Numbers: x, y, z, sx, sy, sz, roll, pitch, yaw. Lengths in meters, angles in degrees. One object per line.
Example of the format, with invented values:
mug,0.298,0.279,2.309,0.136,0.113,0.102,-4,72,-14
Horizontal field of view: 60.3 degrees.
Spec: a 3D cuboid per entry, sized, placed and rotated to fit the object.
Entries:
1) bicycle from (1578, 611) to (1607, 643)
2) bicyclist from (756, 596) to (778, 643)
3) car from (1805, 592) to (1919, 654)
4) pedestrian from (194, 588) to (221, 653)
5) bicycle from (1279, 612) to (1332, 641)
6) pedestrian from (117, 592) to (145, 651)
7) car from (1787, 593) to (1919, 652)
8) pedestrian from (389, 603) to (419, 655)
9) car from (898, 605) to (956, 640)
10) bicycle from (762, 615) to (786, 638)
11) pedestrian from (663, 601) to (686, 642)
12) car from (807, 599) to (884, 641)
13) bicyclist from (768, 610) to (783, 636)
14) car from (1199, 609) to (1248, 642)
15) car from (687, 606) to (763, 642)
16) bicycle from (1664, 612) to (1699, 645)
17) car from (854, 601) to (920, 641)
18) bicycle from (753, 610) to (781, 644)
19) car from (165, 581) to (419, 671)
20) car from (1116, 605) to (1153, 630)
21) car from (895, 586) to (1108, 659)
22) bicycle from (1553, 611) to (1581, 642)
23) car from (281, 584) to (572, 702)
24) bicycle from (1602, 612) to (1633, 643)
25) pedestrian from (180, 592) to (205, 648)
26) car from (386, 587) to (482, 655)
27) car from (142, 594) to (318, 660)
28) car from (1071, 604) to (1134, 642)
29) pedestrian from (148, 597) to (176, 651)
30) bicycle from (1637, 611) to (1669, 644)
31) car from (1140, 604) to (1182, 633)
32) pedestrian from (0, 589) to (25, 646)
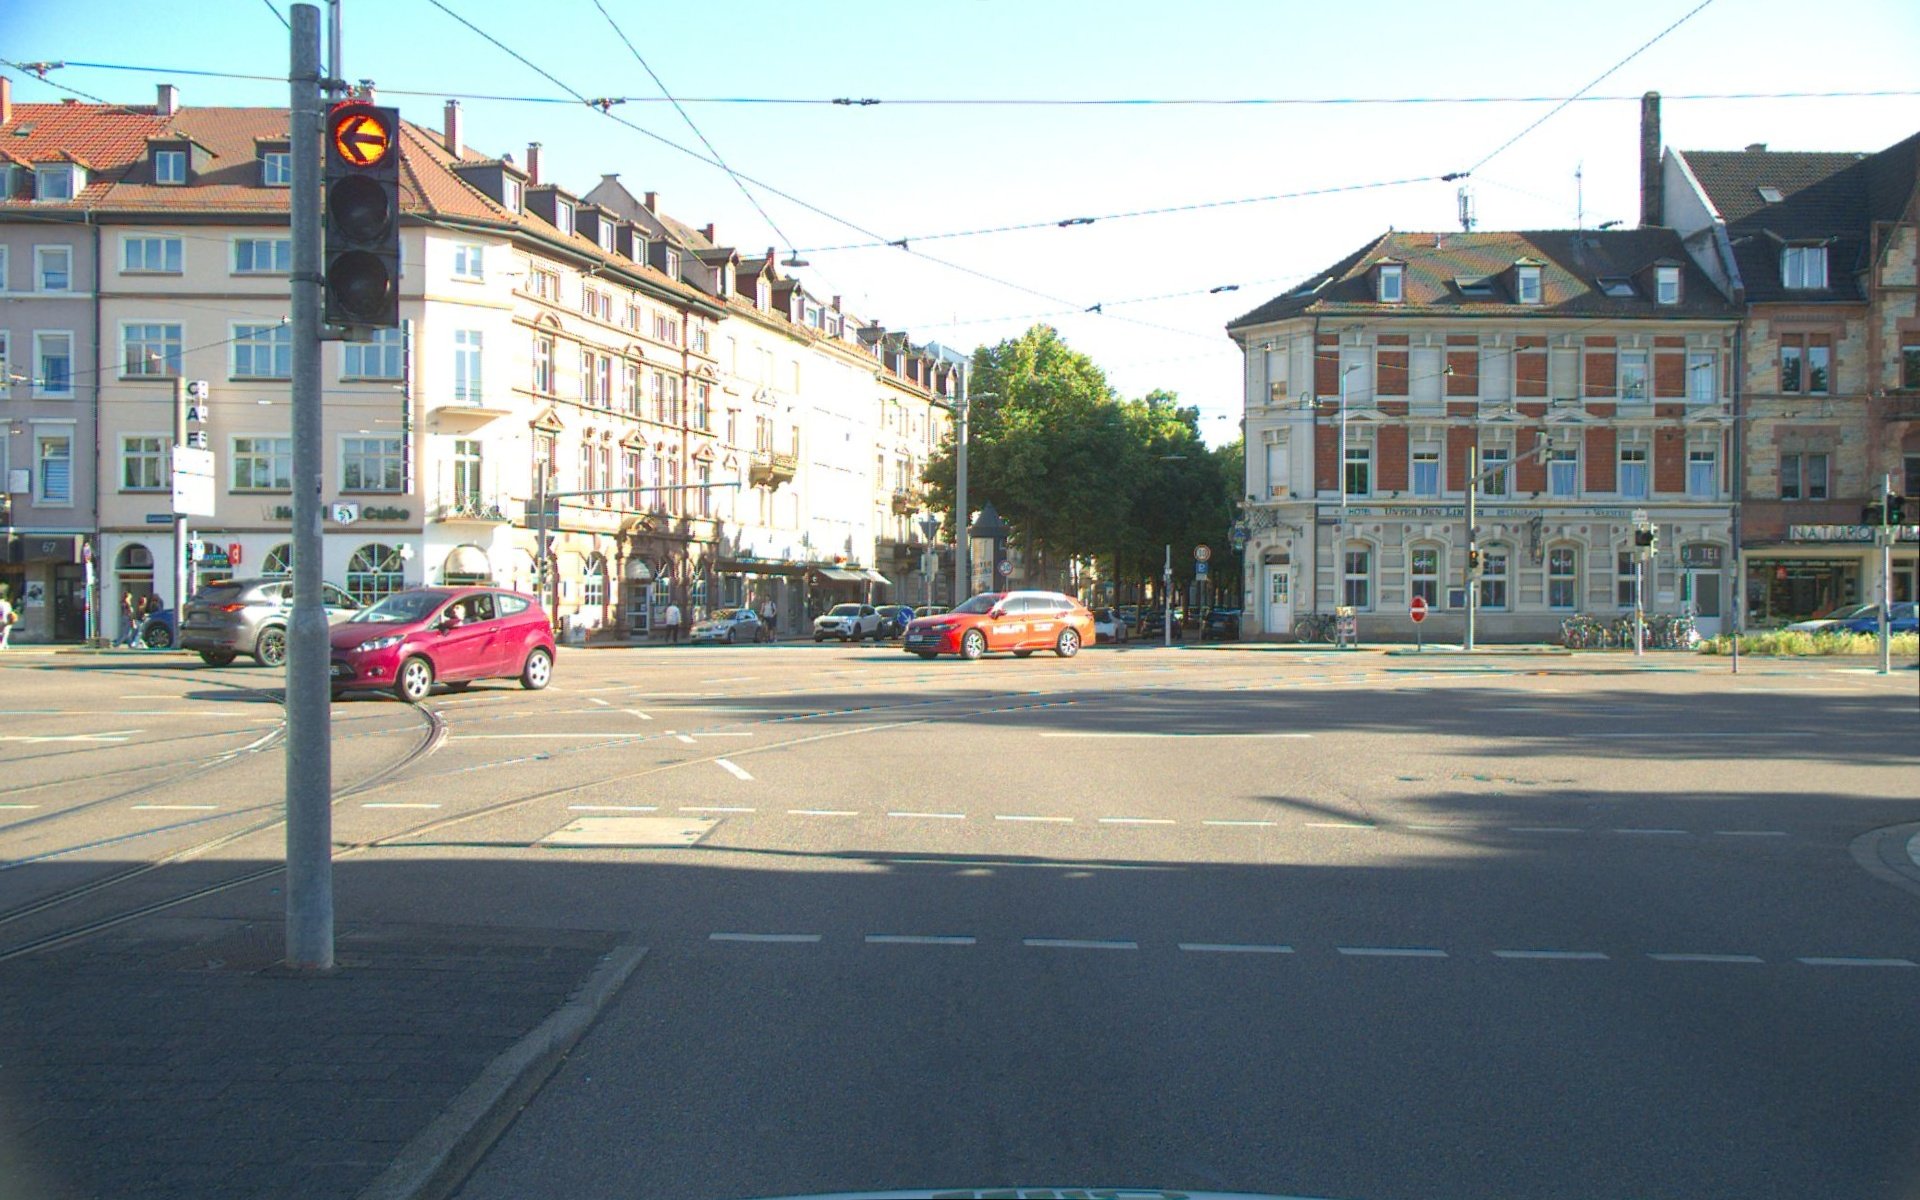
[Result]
bicycle,20.564,0.870,53.789,0.749,0.985,2.211,1,0,17
bicyclist,-7.574,0.768,64.883,0.553,1.835,0.915,1,-1,14
car,25.920,0.636,46.020,3.905,1.650,1.804,1,0,0
pedestrian,-21.852,0.595,48.052,0.517,1.854,0.675,1,-1,-8
bicycle,11.982,0.905,57.280,1.764,0.979,0.604,1,0,14
pedestrian,-23.811,0.604,47.490,0.512,1.677,0.497,1,-1,-1
car,26.572,0.657,48.308,3.905,1.650,1.804,1,0,0
pedestrian,-17.618,0.922,52.456,0.655,1.622,0.815,1,-1,-1
car,-1.568,1.090,79.512,1.764,1.603,3.893,1,0,15
bicycle,-7.547,1.064,67.125,0.462,0.938,1.453,1,0,14
pedestrian,-11.596,0.870,67.218,0.556,1.671,0.792,1,-1,22
car,-4.611,0.806,67.189,1.764,1.613,4.162,1,0,16
bicyclist,-7.507,0.932,67.290,0.462,1.058,0.538,1,-1,14
car,13.198,1.274,82.649,1.719,1.583,4.001,1,0,20
car,-9.462,0.961,66.866,1.624,1.398,3.894,1,0,14
bicycle,23.343,0.904,53.546,0.775,1.033,2.211,1,0,17
car,-3.233,0.931,73.654,1.786,1.715,3.877,1,0,16
bicycle,-7.572,1.054,64.873,0.553,1.276,1.558,1,0,14
car,-12.969,0.458,32.392,1.833,1.630,4.446,-1,0,30
car,12.333,1.222,116.772,1.951,1.713,4.003,1,0,15
car,0.985,0.457,37.406,4.825,1.495,1.779,-1,2,-39
bicycle,19.810,0.858,54.026,0.749,0.979,2.211,1,0,17
car,-7.162,0.515,22.578,1.559,1.451,3.879,1,1,25
bicycle,21.343,0.883,53.696,0.749,1.001,2.211,1,0,17
pedestrian,-23.321,0.594,50.255,0.512,1.677,0.497,1,-1,-1
car,-12.826,0.469,40.497,1.752,1.530,3.910,0,1,-11
car,-18.783,0.658,42.558,4.100,1.602,1.831,1,0,22
car,6.015,0.956,69.400,1.852,1.479,4.011,0,1,16
pedestrian,-22.724,0.693,47.102,0.481,1.518,0.556,1,-1,-1
bicycle,22.466,0.890,53.638,0.749,1.025,2.221,1,0,17
car,10.285,0.909,84.365,1.786,1.428,4.003,0,0,12
pedestrian,-28.070,0.508,48.806,0.572,1.677,0.616,1,-1,-1
